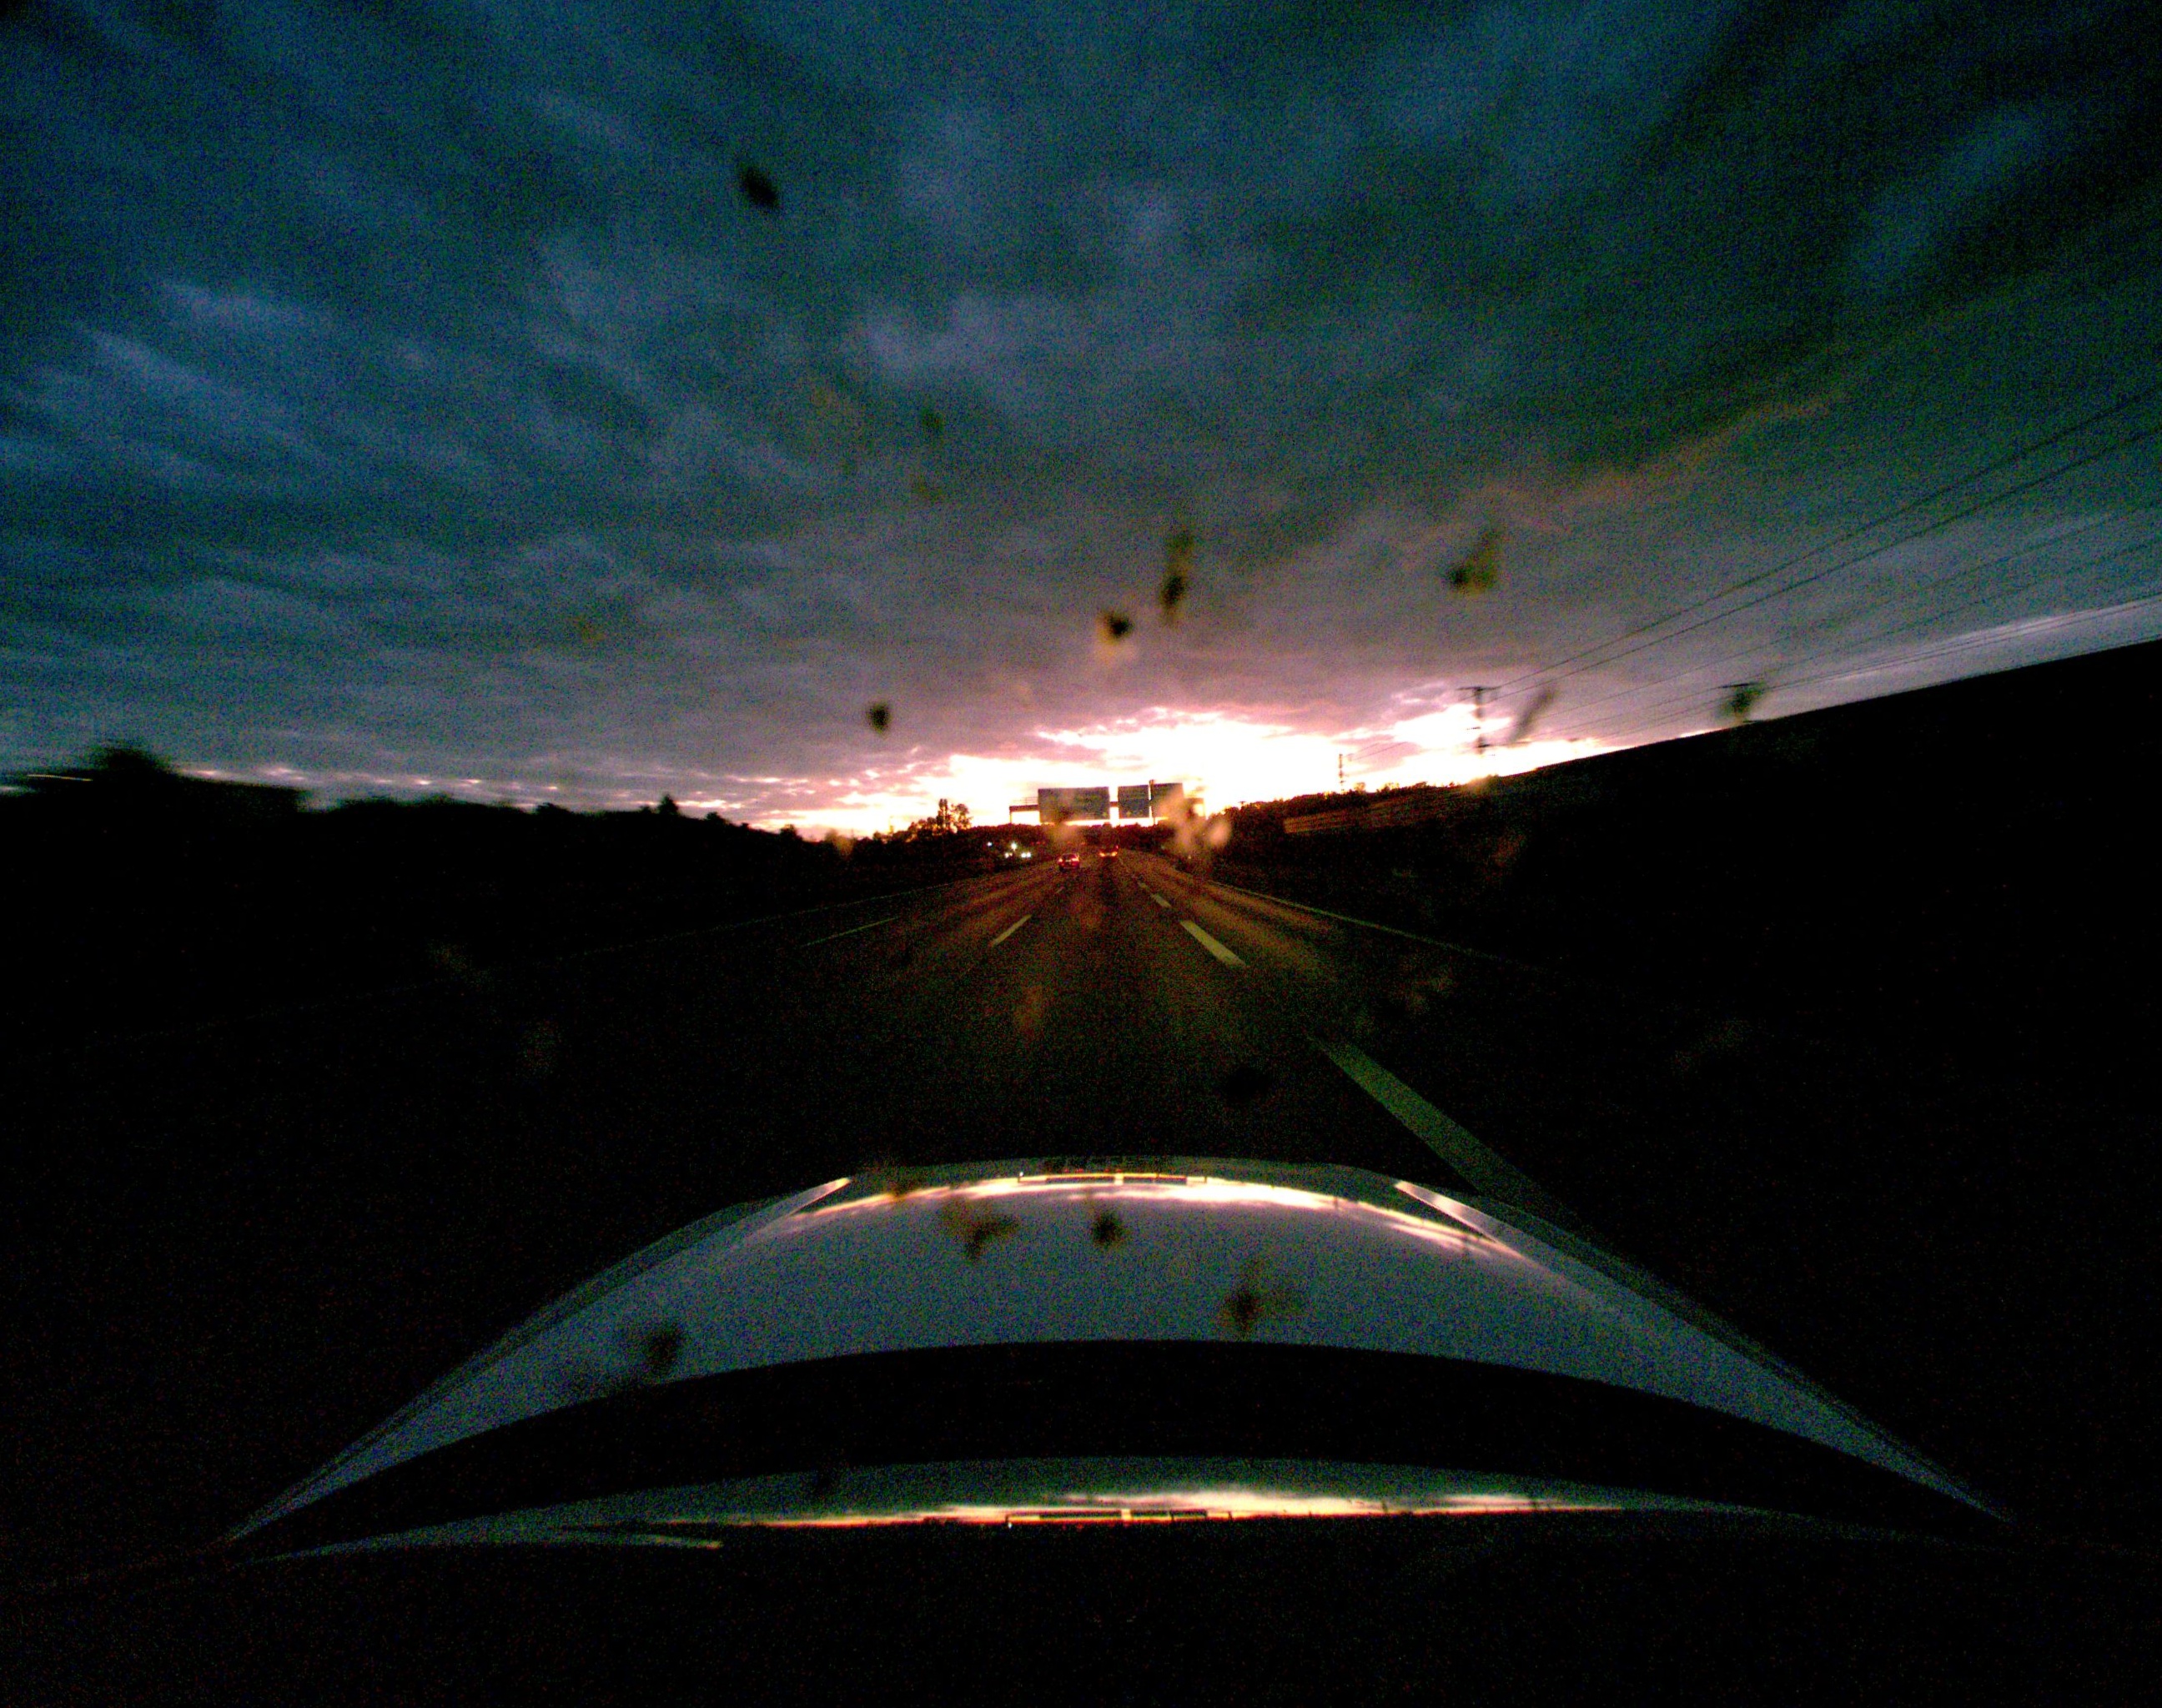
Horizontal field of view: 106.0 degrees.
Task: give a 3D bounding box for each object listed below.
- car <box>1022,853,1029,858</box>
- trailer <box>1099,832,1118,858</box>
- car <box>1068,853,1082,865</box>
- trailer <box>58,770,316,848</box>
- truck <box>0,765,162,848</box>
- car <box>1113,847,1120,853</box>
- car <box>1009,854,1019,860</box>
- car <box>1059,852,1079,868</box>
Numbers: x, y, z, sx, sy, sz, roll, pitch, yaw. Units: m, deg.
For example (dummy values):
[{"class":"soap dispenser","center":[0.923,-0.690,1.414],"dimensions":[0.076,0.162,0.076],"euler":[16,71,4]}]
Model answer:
[{"class":"car","center":[-15.742,0.336,230.664],"dimensions":[1.683,1.401,4.431],"euler":[-1,-1,2]},{"class":"trailer","center":[4.617,-1.523,137.705],"dimensions":[2.713,4.070,8.830],"euler":[-4,1,0]},{"class":"car","center":[-0.784,0.644,106.796],"dimensions":[1.684,1.401,3.408],"euler":[-5,0,0]},{"class":"trailer","center":[-54.286,-2.486,50.360],"dimensions":[2.685,4.071,12.475],"euler":[-2,0,-4]},{"class":"truck","center":[-53.890,-2.424,43.823],"dimensions":[2.685,4.071,5.470],"euler":[-2,0,-4]},{"class":"car","center":[10.705,-1.251,244.911],"dimensions":[1.987,1.849,3.999],"euler":[-1,-1,0]},{"class":"car","center":[-16.181,0.669,196.946],"dimensions":[1.683,1.401,4.431],"euler":[-1,-1,2]},{"class":"car","center":[-1.130,0.552,76.275],"dimensions":[1.685,1.401,3.406],"euler":[-4,0,-2]}]
